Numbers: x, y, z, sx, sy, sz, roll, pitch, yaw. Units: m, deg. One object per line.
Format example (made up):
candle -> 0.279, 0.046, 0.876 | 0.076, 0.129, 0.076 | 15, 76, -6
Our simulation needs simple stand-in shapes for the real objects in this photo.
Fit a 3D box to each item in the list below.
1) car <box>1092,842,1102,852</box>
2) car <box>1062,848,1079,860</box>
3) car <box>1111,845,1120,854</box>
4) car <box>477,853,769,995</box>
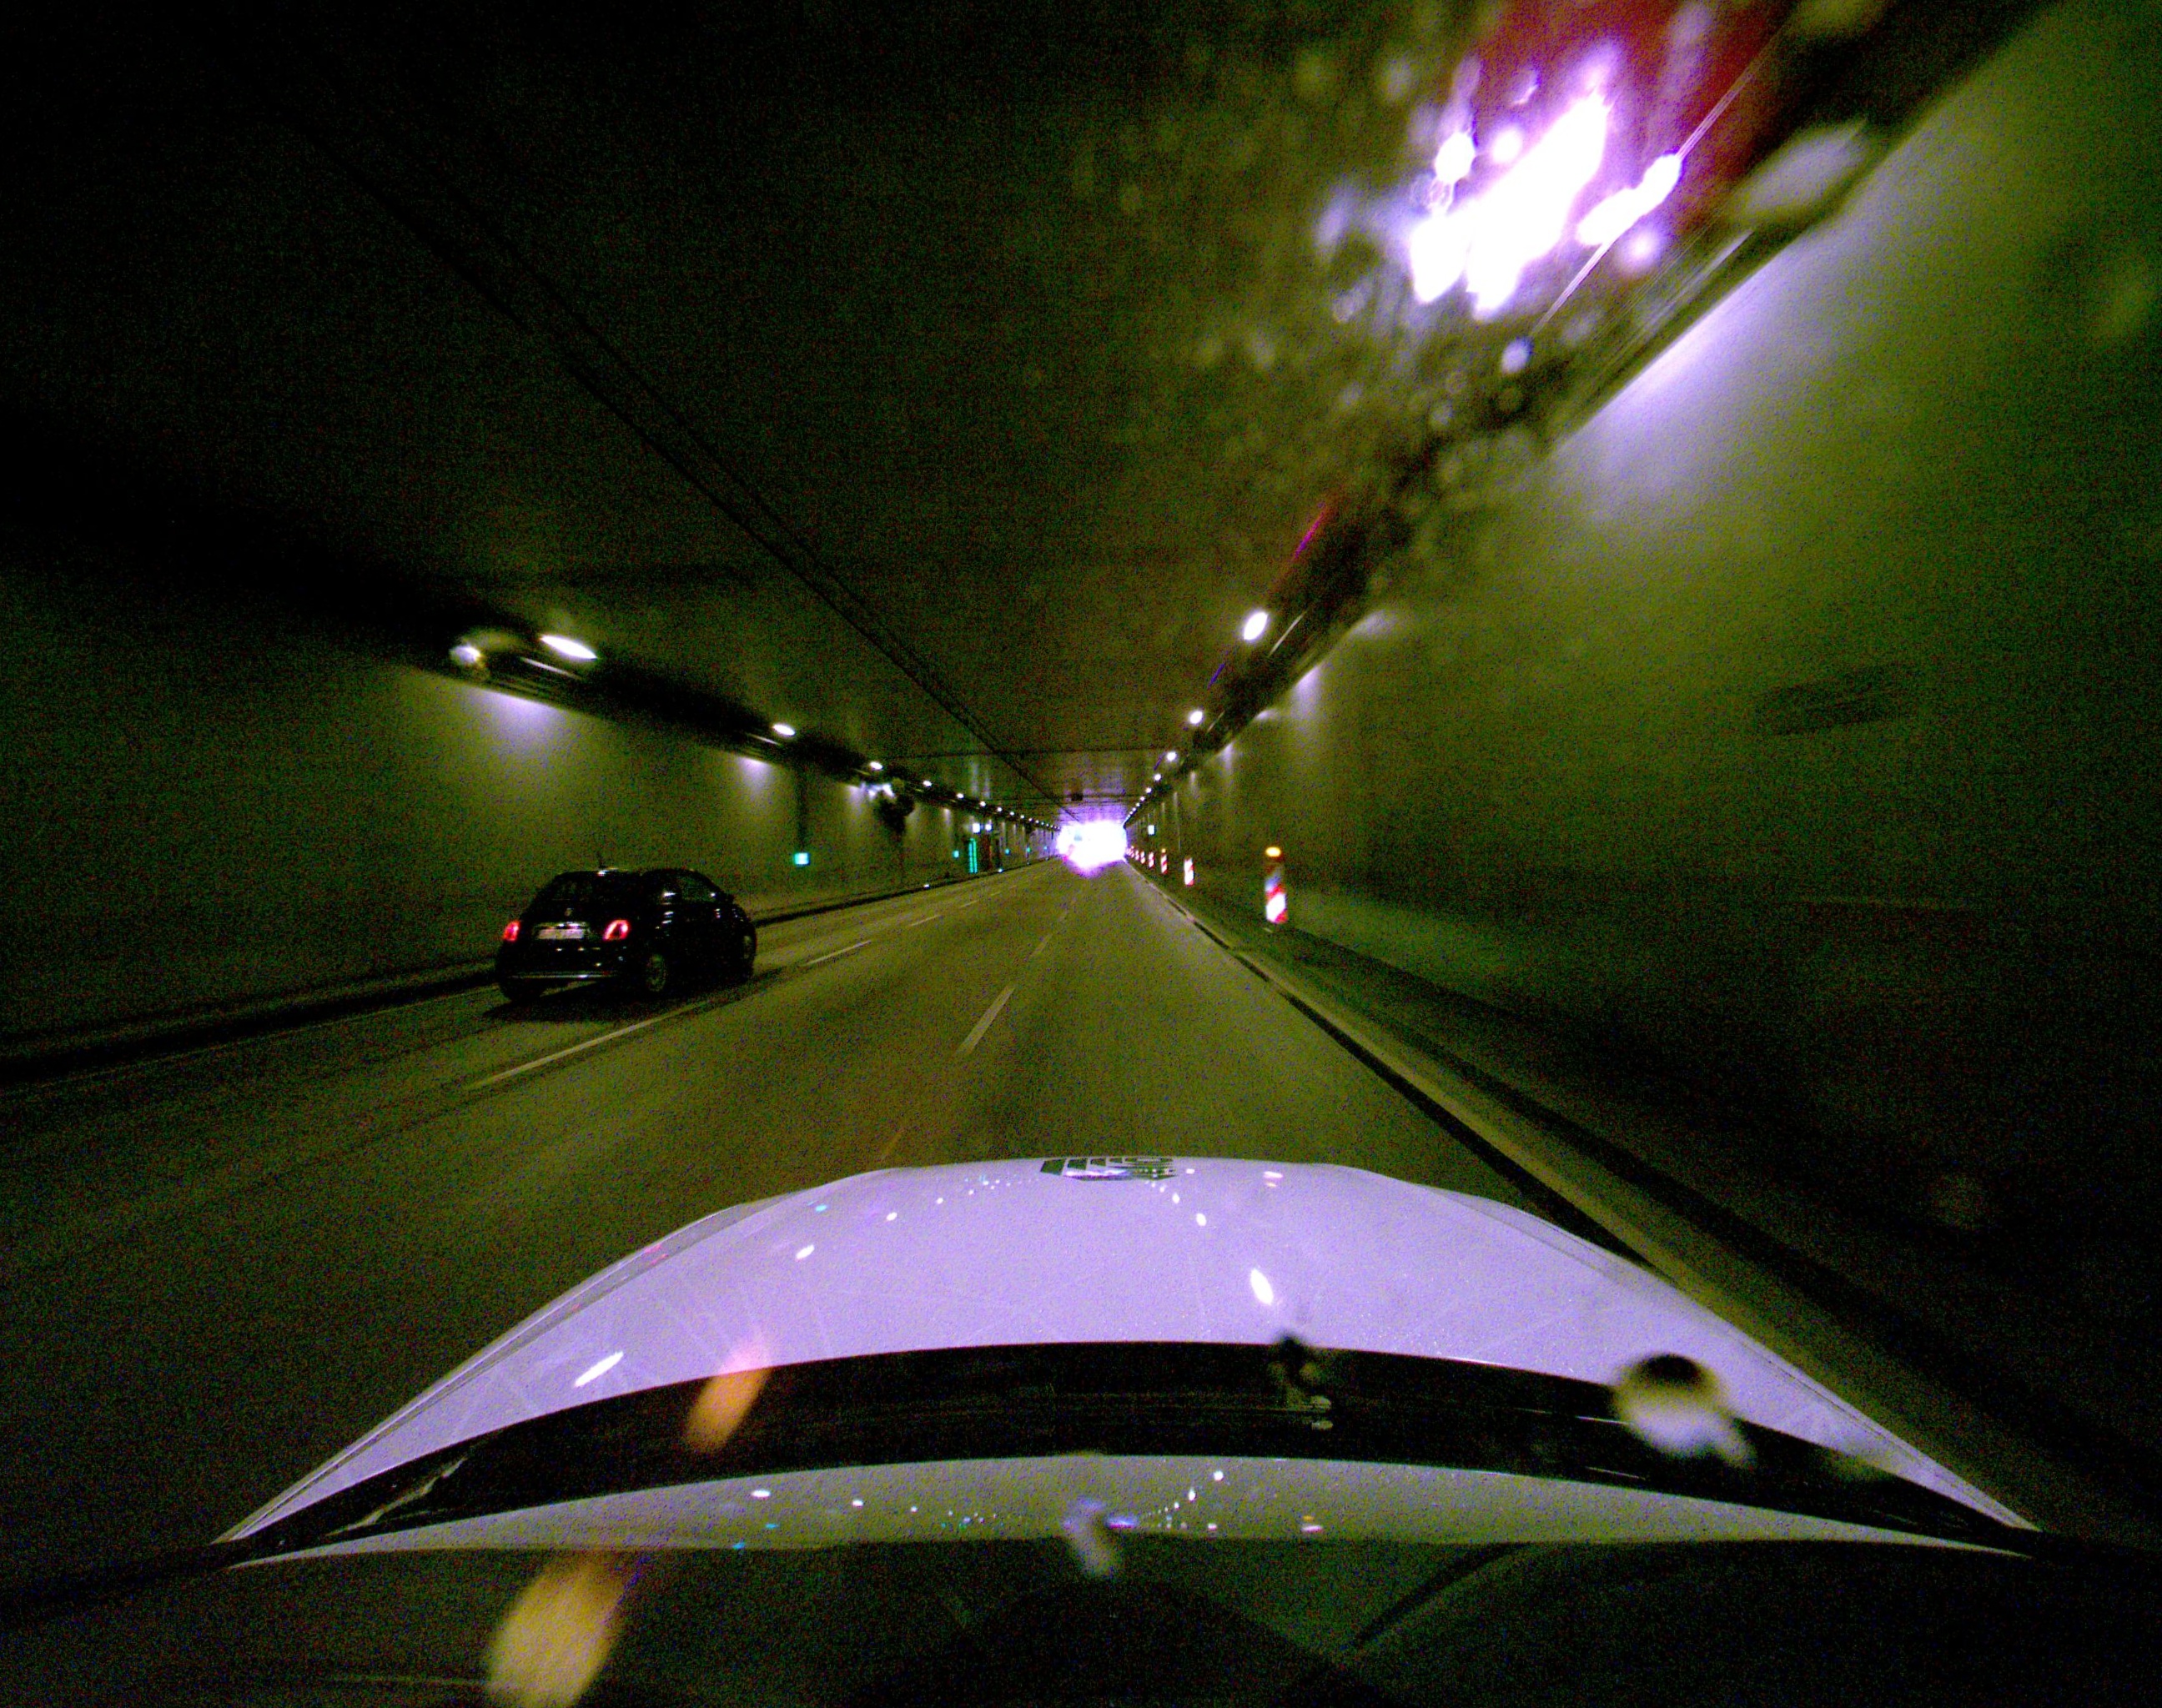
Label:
car -> 3.428, -1.421, 169.506 | 1.986, 2.014, 4.002 | 0, -1, 2
car -> -1.361, 0.046, 101.169 | 1.988, 1.448, 4.311 | 1, 0, -2
car -> 7.752, -1.060, 184.124 | 1.986, 2.014, 4.002 | 0, -1, 2
car -> -5.436, 0.727, 10.235 | 1.607, 1.454, 3.572 | 0, 0, 0
